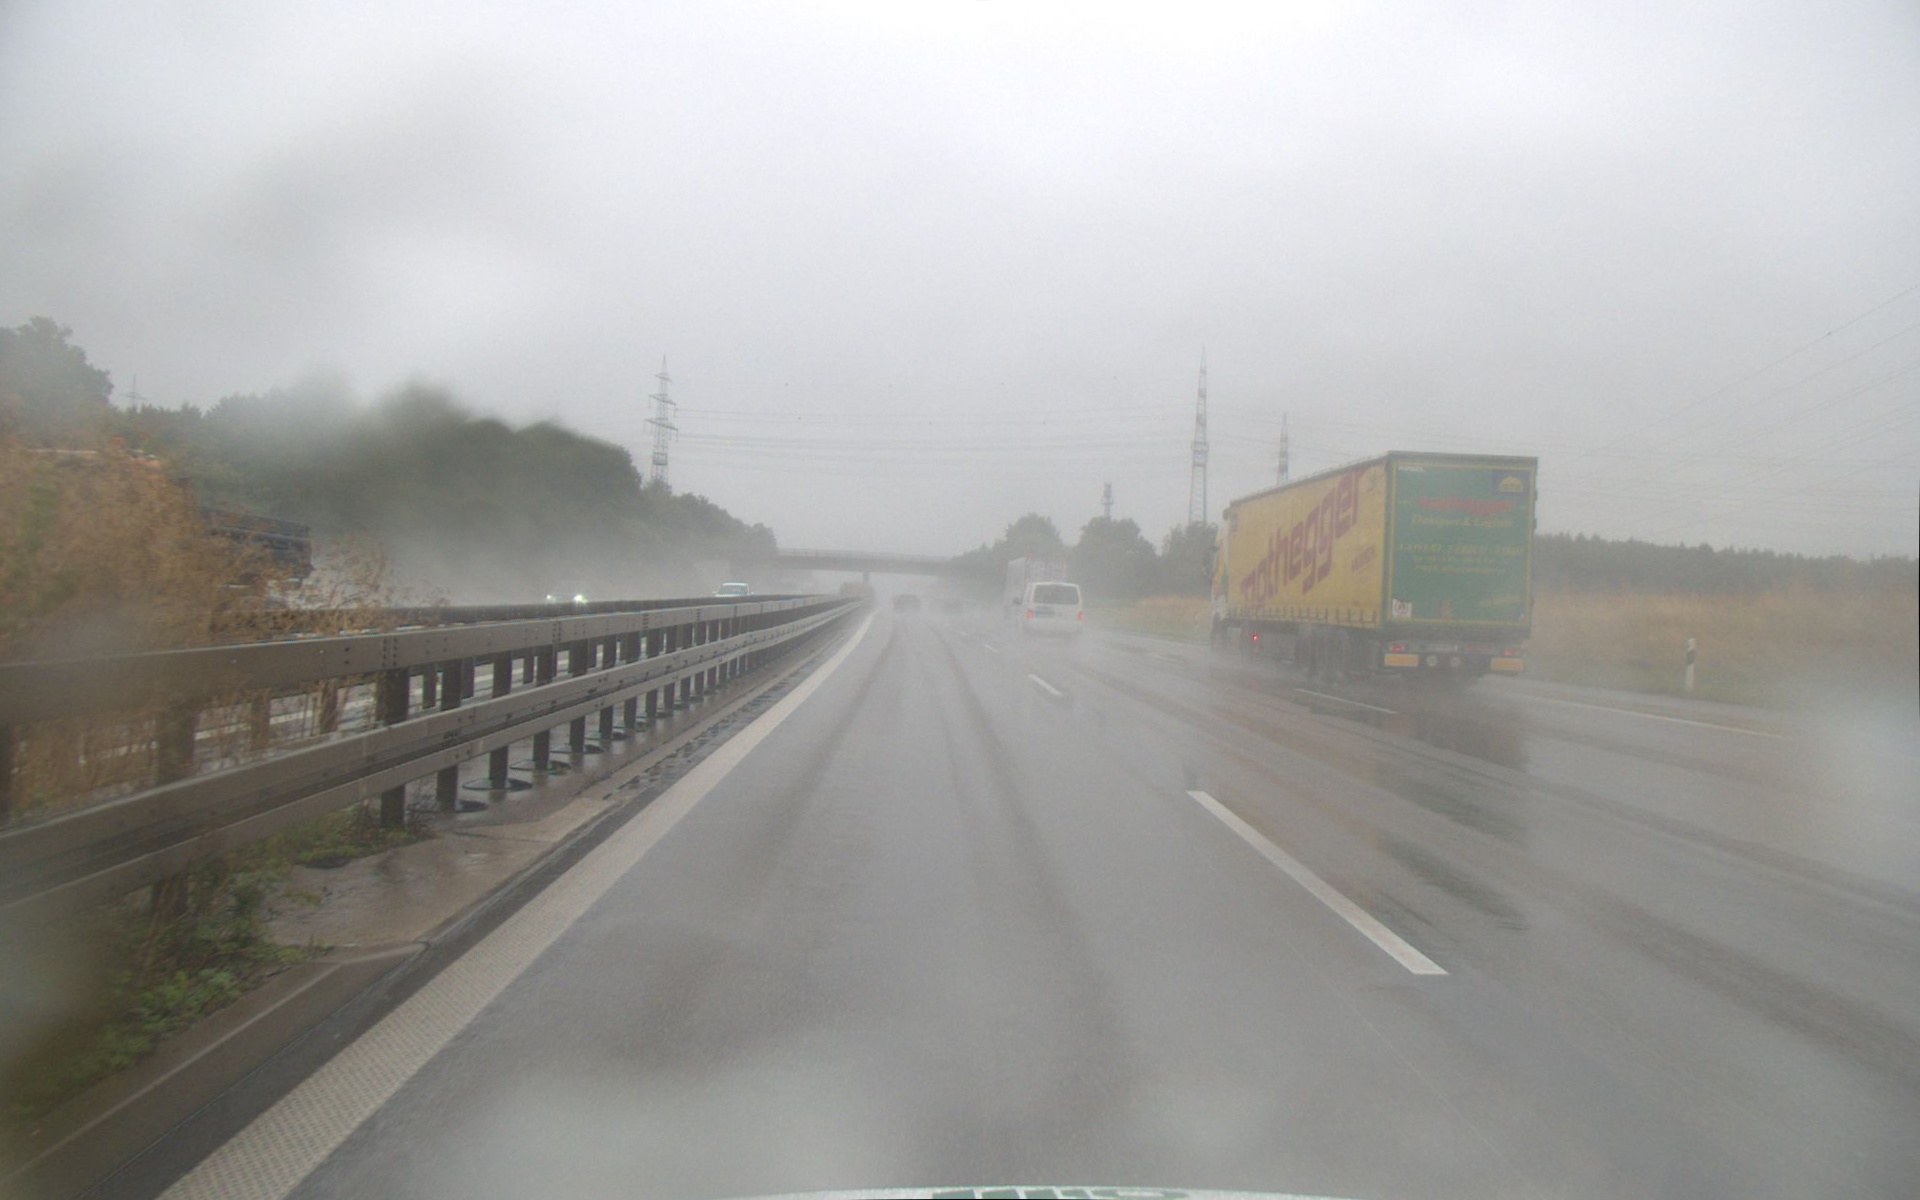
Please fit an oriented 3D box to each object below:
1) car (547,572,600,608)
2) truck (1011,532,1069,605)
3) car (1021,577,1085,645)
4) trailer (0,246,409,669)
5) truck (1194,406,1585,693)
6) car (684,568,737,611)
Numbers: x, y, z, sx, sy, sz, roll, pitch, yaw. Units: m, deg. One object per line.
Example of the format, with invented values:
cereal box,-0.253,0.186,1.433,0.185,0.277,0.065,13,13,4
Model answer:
car,-18.693,-0.514,80.165,1.590,1.601,4.001,2,2,0
truck,4.973,-1.986,103.993,3.166,4.386,8.837,1,1,0
car,2.970,0.308,52.931,1.952,2.049,4.002,1,1,3
trailer,-11.725,-1.543,22.810,3.459,4.376,14.677,1,0,-1
truck,8.283,-0.900,35.524,4.103,4.711,16.104,1,0,0
car,-12.466,-0.506,82.782,1.952,2.049,4.000,1,0,0
